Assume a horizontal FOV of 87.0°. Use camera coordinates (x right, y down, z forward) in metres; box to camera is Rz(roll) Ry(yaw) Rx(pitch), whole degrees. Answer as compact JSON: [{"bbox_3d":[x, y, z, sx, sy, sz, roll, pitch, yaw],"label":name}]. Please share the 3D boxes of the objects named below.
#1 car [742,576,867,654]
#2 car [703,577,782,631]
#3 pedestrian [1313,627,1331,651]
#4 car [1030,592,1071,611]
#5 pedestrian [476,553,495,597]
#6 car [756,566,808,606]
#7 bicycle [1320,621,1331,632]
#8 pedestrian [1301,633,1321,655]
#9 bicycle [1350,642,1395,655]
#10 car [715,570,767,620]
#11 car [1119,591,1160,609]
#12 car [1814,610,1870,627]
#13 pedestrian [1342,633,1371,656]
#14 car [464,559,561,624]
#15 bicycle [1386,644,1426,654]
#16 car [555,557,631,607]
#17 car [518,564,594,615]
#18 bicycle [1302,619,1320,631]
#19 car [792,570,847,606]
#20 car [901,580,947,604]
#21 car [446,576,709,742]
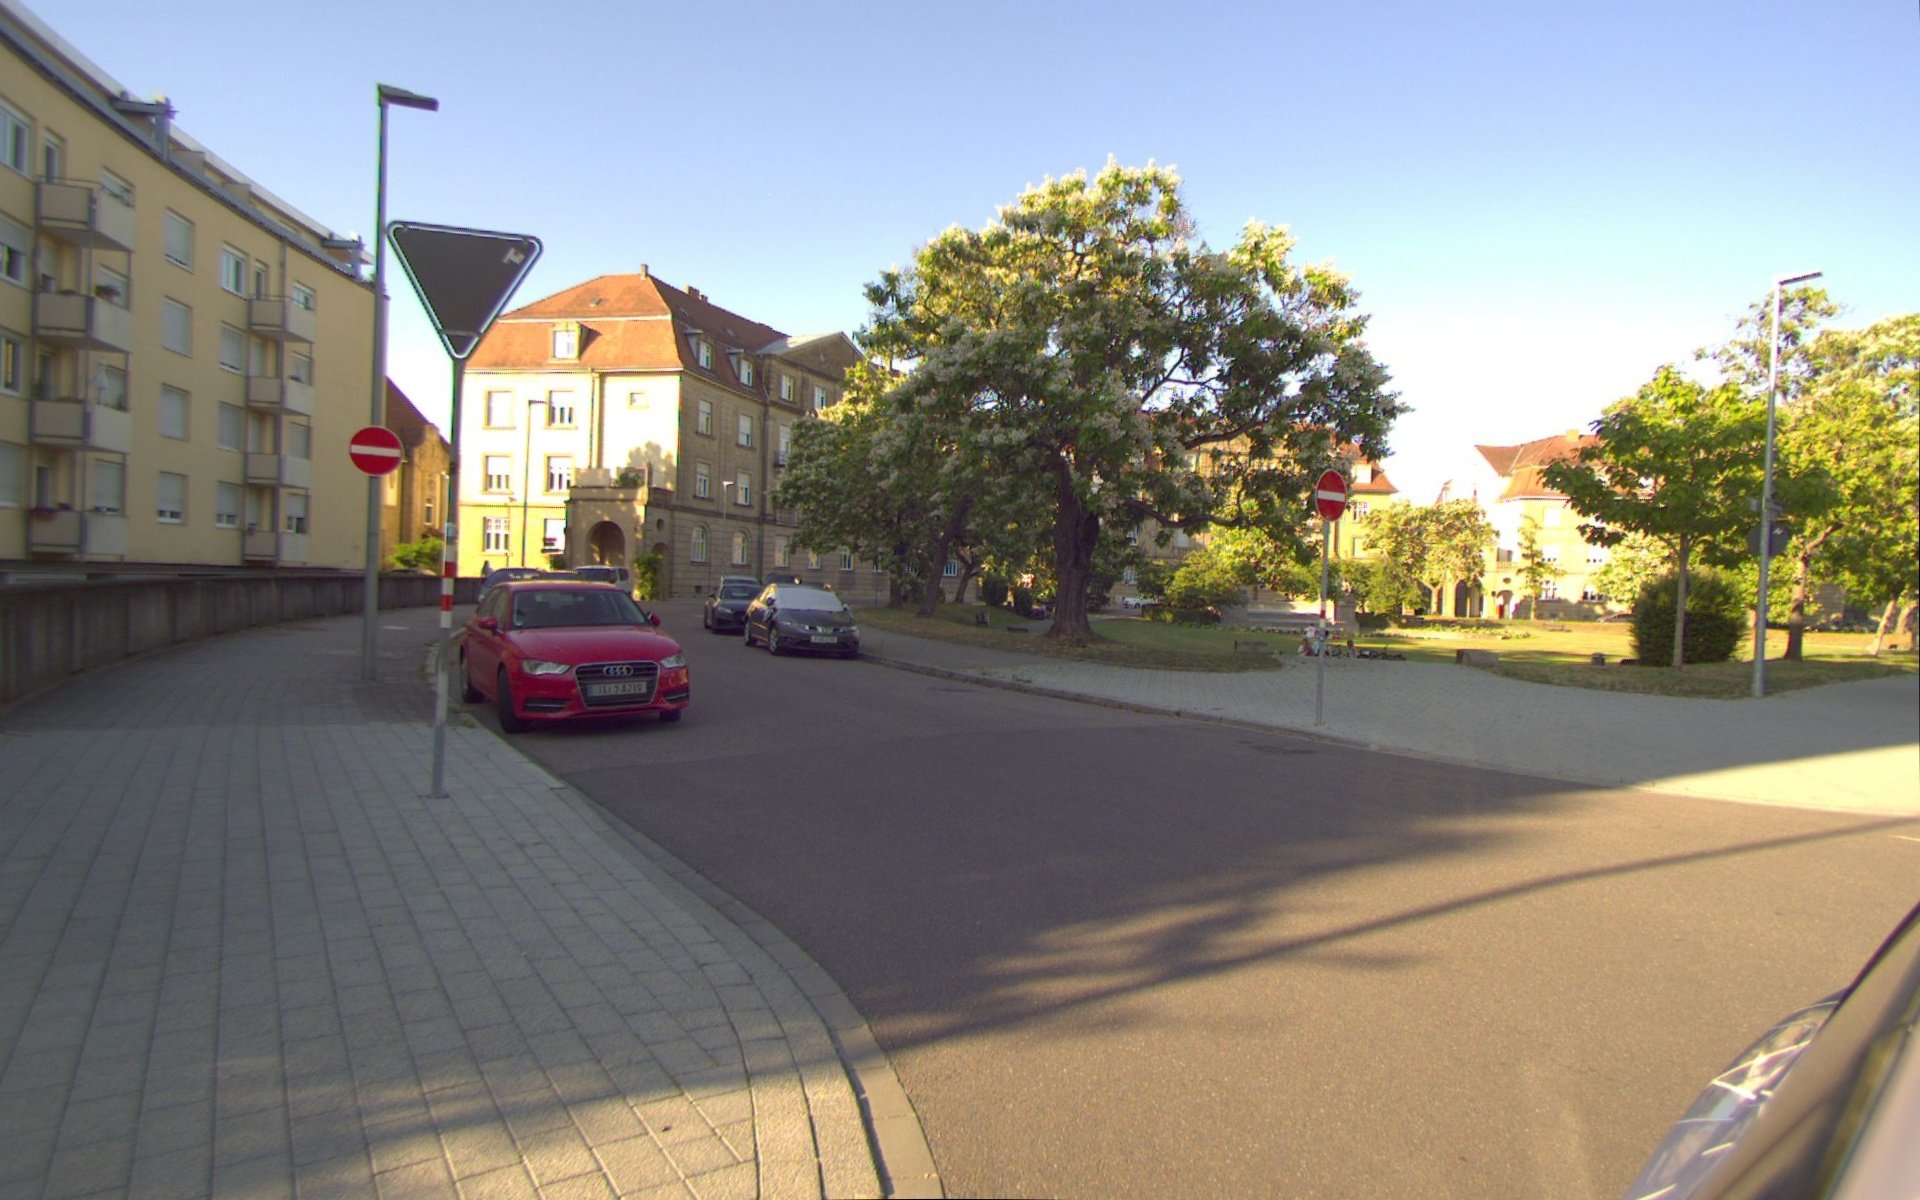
[{"bbox_3d":[-3.388,0.283,21.420,1.690,1.445,4.008,3,-1,-22],"label":"car"},{"bbox_3d":[-6.073,0.102,27.946,1.690,1.313,3.712,3,-1,-18],"label":"car"},{"bbox_3d":[13.518,1.447,37.781,0.488,0.845,0.455,1,0,-6],"label":"pedestrian"},{"bbox_3d":[8.064,0.147,90.031,1.768,1.604,3.943,1,0,39],"label":"car"},{"bbox_3d":[-17.605,-0.934,37.564,0.496,1.612,0.527,1,0,-10],"label":"pedestrian"},{"bbox_3d":[-8.655,-0.660,49.584,1.695,1.779,3.701,3,-1,2],"label":"car"},{"bbox_3d":[20.380,1.465,56.437,0.480,0.590,0.437,1,0,13],"label":"bicycle"},{"bbox_3d":[12.352,1.535,35.636,0.447,0.756,0.497,2,0,-43],"label":"pedestrian"},{"bbox_3d":[15.388,1.804,37.772,1.896,0.387,0.659,1,1,-37],"label":"bicycle"},{"bbox_3d":[-7.902,-0.175,36.572,1.690,1.648,3.711,3,-1,-12],"label":"car"},{"bbox_3d":[16.987,-0.030,95.693,3.631,1.518,1.727,3,-1,-32],"label":"car"},{"bbox_3d":[81.654,1.690,93.746,3.678,1.518,1.705,1,0,34],"label":"car"},{"bbox_3d":[13.939,1.564,35.591,0.795,0.774,0.498,3,0,1],"label":"pedestrian"},{"bbox_3d":[-11.938,-0.263,27.227,1.671,1.596,4.056,0,1,-13],"label":"car"},{"bbox_3d":[17.186,1.887,39.014,1.671,0.323,0.659,1,1,-37],"label":"bicycle"},{"bbox_3d":[-14.230,-0.675,39.446,1.673,1.818,4.050,1,0,-4],"label":"car"},{"bbox_3d":[-13.277,-0.377,33.476,1.671,1.596,4.055,0,1,-12],"label":"car"},{"bbox_3d":[19.641,1.392,56.634,0.891,0.660,0.437,1,0,13],"label":"bicycle"},{"bbox_3d":[-7.640,-0.629,55.325,1.700,1.779,3.689,3,-1,13],"label":"car"},{"bbox_3d":[-2.592,-0.564,73.276,1.711,1.518,3.666,2,-1,29],"label":"car"},{"bbox_3d":[-4.306,0.465,11.007,1.755,1.437,4.048,-1,2,-34],"label":"car"}]
